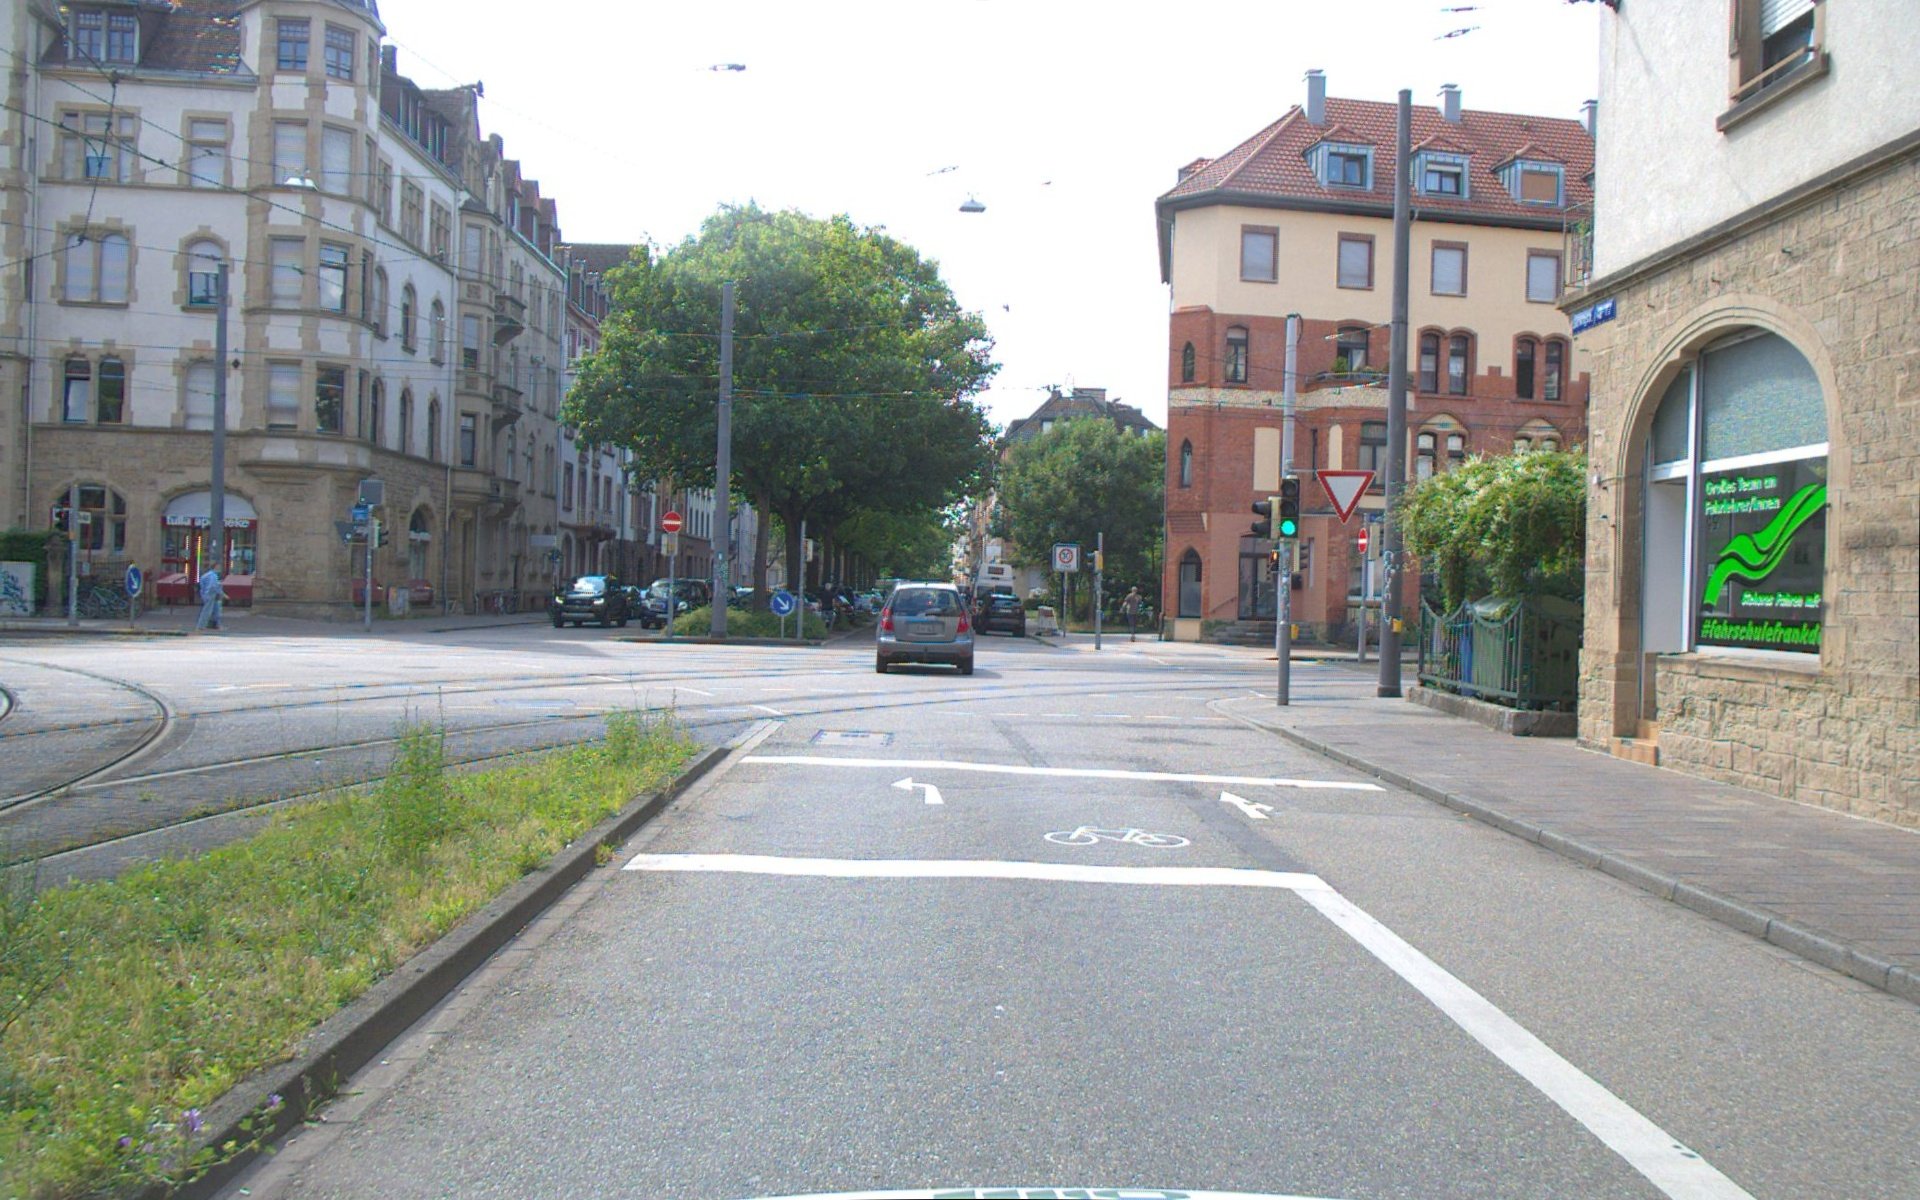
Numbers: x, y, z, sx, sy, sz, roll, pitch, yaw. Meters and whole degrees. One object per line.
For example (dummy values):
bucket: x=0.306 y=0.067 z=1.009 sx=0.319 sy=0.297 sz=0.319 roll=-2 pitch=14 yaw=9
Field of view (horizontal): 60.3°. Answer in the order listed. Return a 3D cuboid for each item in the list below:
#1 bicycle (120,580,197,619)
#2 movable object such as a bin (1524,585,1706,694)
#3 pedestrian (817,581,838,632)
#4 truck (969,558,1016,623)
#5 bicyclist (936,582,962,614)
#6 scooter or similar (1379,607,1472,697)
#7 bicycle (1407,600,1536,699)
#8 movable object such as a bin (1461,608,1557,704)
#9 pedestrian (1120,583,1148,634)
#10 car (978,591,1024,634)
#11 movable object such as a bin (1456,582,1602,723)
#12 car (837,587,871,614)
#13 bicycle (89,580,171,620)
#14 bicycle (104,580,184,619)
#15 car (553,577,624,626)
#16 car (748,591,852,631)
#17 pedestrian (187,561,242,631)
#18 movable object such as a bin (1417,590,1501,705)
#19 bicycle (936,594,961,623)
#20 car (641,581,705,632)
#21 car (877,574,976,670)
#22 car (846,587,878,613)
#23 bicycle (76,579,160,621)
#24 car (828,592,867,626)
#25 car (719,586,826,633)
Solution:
bicycle: x=-23.472 y=-0.015 z=48.464 sx=1.882 sy=1.100 sz=0.776 roll=1 pitch=0 yaw=-12
movable object such as a bin: x=8.894 y=0.530 z=22.498 sx=2.053 sy=1.438 sz=1.052 roll=1 pitch=0 yaw=-8
pedestrian: x=-4.602 y=0.226 z=57.434 sx=0.638 sy=1.755 sz=0.495 roll=1 pitch=0 yaw=3
truck: x=1.591 y=-0.448 z=79.441 sx=2.078 sy=3.022 sz=4.002 roll=1 pitch=0 yaw=3
bicyclist: x=-0.377 y=-0.074 z=58.563 sx=0.819 sy=1.101 sz=1.401 roll=1 pitch=0 yaw=3
scooter or similar: x=6.544 y=0.731 z=23.261 sx=1.171 sy=1.238 sz=0.462 roll=1 pitch=0 yaw=-8
bicycle: x=7.111 y=0.687 z=22.973 sx=1.795 sy=1.352 sz=0.276 roll=1 pitch=0 yaw=-11
movable object such as a bin: x=7.007 y=0.710 z=21.154 sx=1.007 sy=1.195 sz=0.659 roll=1 pitch=0 yaw=1
pedestrian: x=5.857 y=0.282 z=55.690 sx=0.851 sy=1.685 sz=0.737 roll=1 pitch=0 yaw=4
car: x=1.659 y=0.481 z=66.586 sx=1.715 sy=1.661 sz=3.501 roll=1 pitch=0 yaw=3
movable object such as a bin: x=6.679 y=0.581 z=19.557 sx=1.028 sy=1.566 sz=2.100 roll=1 pitch=0 yaw=1
car: x=-6.169 y=0.021 z=96.624 sx=1.716 sy=1.543 sz=3.499 roll=1 pitch=0 yaw=0
bicycle: x=-23.122 y=-0.004 z=46.091 sx=1.882 sy=1.100 sz=0.776 roll=1 pitch=0 yaw=-12
bicycle: x=-23.288 y=-0.009 z=47.225 sx=1.882 sy=1.100 sz=0.776 roll=1 pitch=0 yaw=-12
car: x=-13.016 y=0.057 z=58.211 sx=1.955 sy=1.646 sz=3.995 roll=1 pitch=0 yaw=-6
car: x=-5.946 y=0.396 z=61.198 sx=1.956 sy=1.362 sz=3.943 roll=1 pitch=0 yaw=-40
pedestrian: x=-18.845 y=-0.102 z=41.813 sx=0.763 sy=1.752 sz=1.016 roll=1 pitch=0 yaw=45
movable object such as a bin: x=6.664 y=0.621 z=22.129 sx=0.701 sy=1.497 sz=0.980 roll=1 pitch=0 yaw=-10
bicycle: x=-0.396 y=0.287 z=58.460 sx=0.733 sy=0.975 sz=2.300 roll=1 pitch=0 yaw=3
car: x=-10.346 y=0.209 z=59.851 sx=1.955 sy=1.758 sz=3.995 roll=1 pitch=0 yaw=-6
car: x=-0.571 y=0.369 z=30.165 sx=1.687 sy=1.633 sz=3.677 roll=1 pitch=0 yaw=0
car: x=-6.111 y=-0.028 z=103.481 sx=1.716 sy=1.543 sz=3.499 roll=1 pitch=0 yaw=0
bicycle: x=-22.815 y=0.003 z=44.850 sx=1.882 sy=1.100 sz=0.776 roll=1 pitch=0 yaw=-12
car: x=-5.628 y=0.433 z=83.018 sx=1.716 sy=1.661 sz=3.499 roll=1 pitch=0 yaw=0
car: x=-6.666 y=0.318 z=58.569 sx=1.956 sy=1.521 sz=3.943 roll=1 pitch=0 yaw=-40
